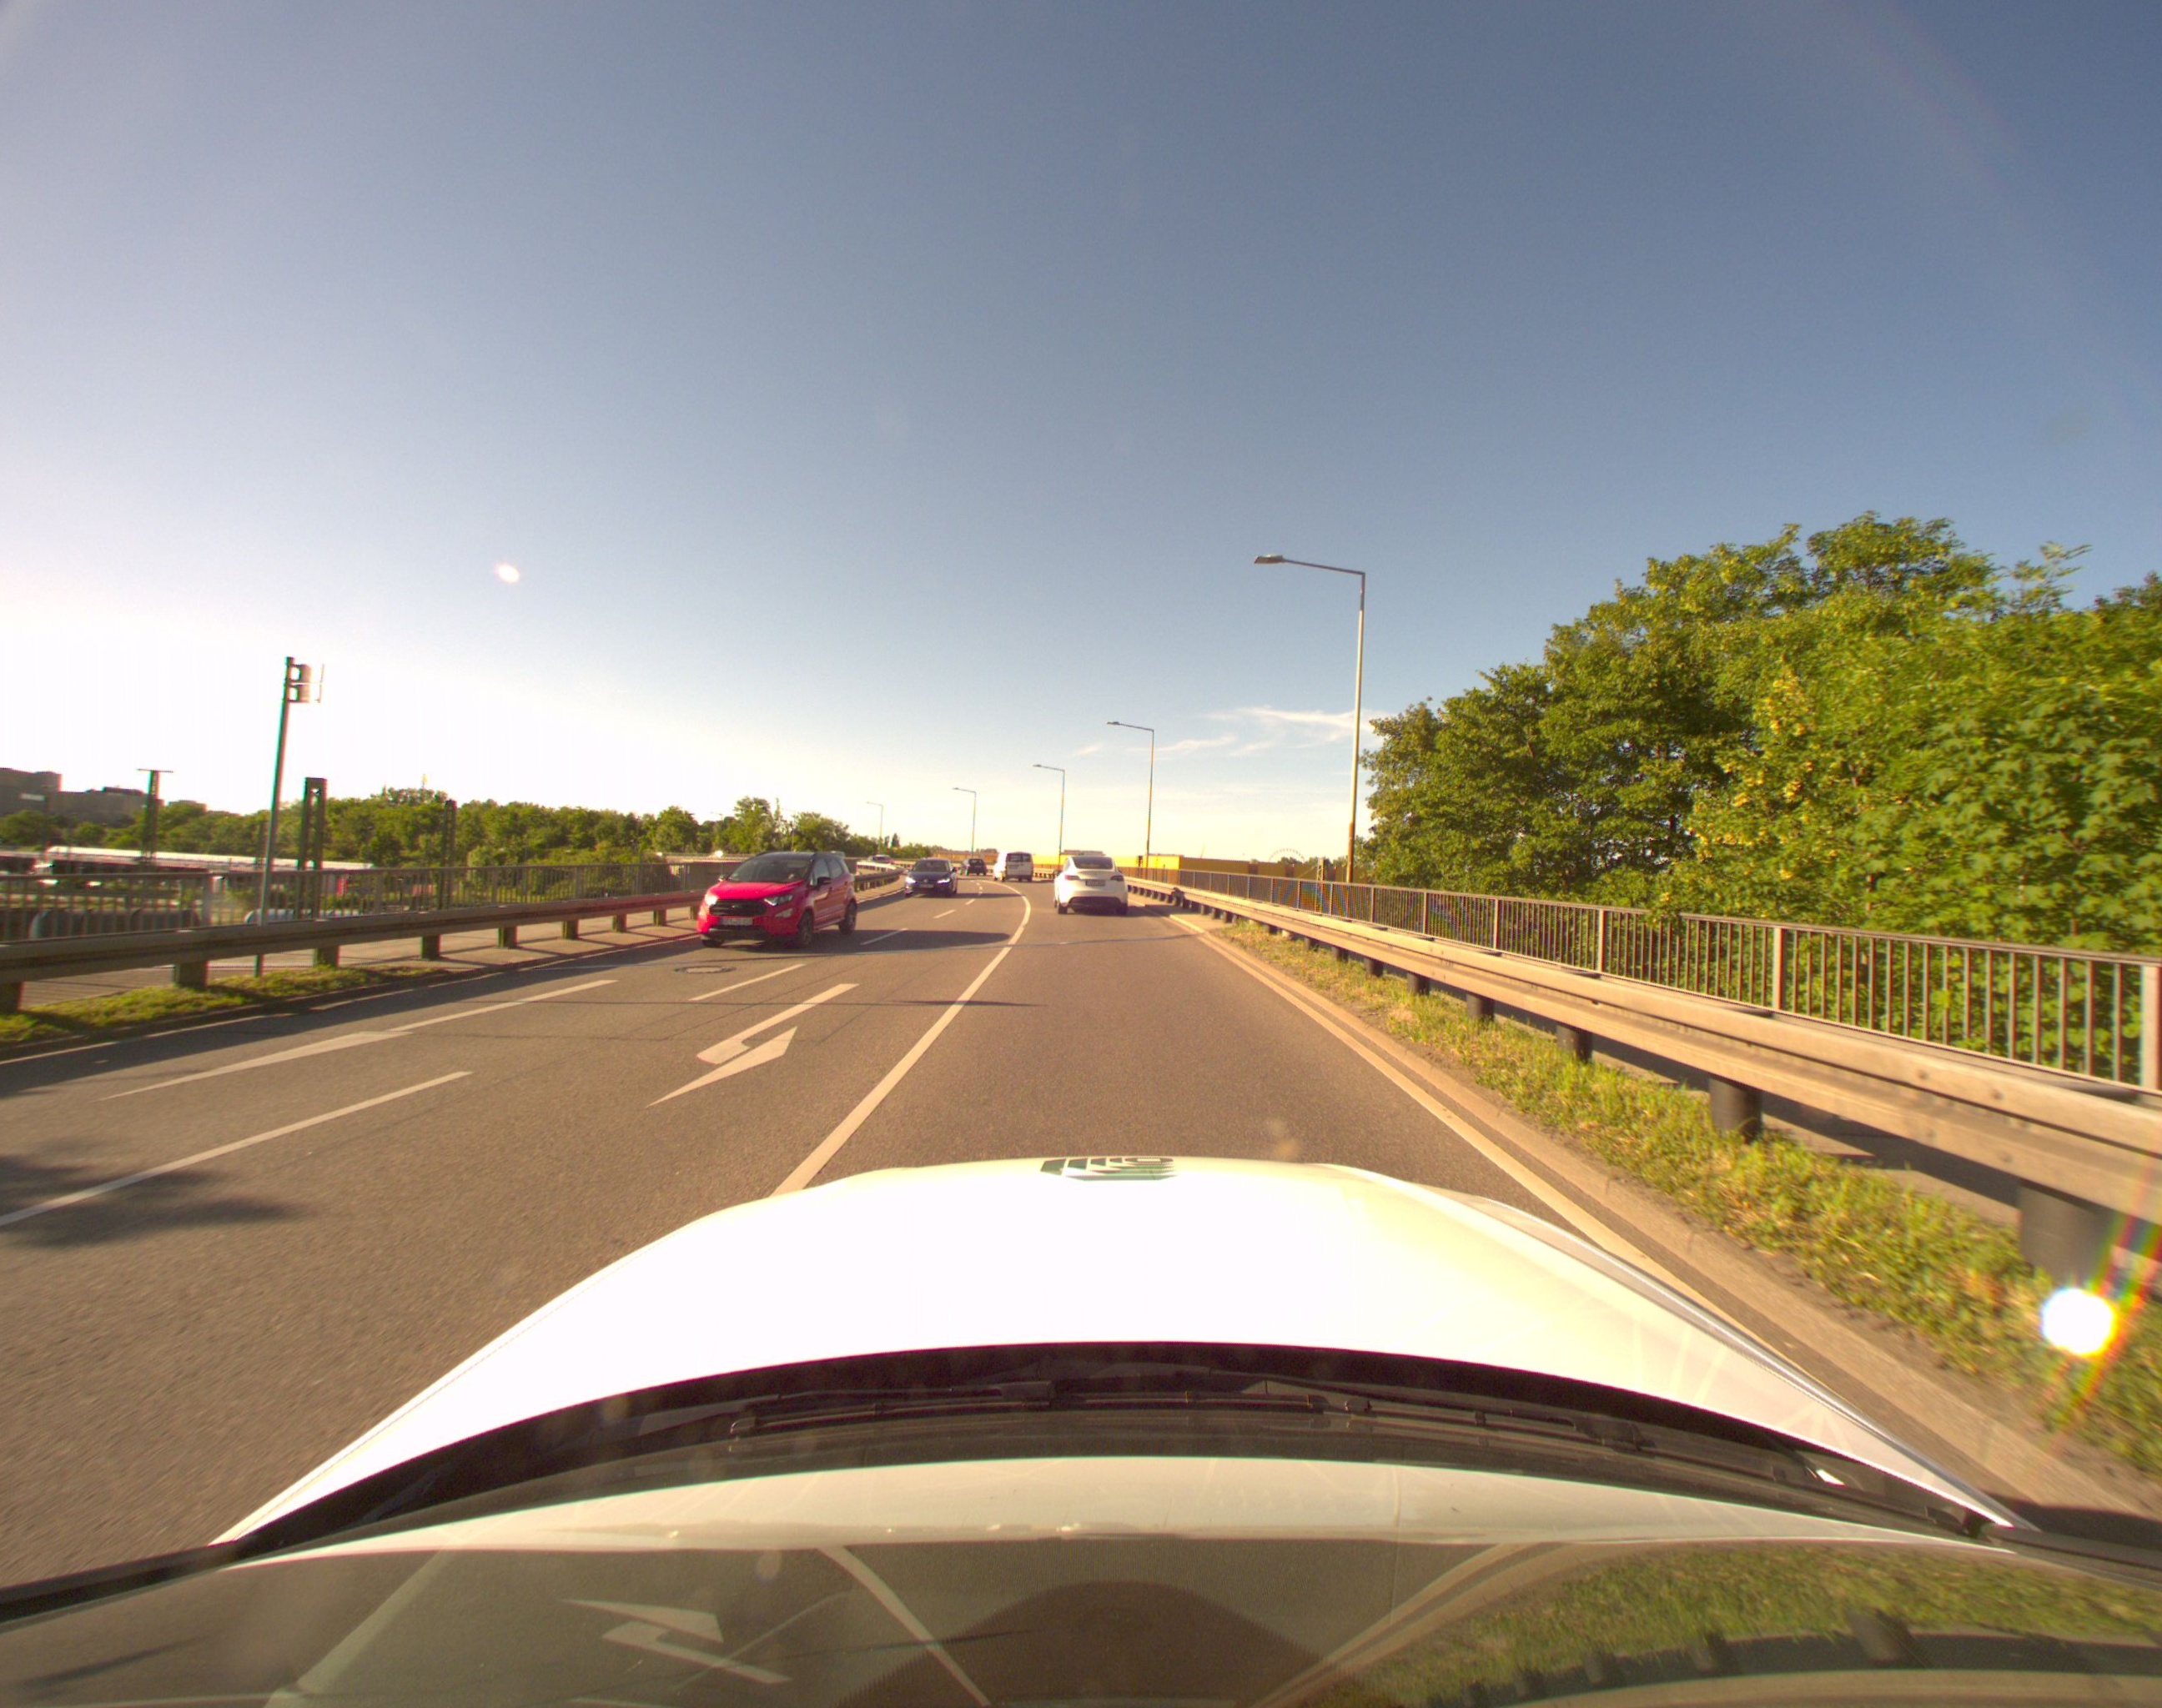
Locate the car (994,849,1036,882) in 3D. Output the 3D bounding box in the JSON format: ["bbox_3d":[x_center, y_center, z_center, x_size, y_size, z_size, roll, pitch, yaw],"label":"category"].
[{"bbox_3d":[-4.183,0.716,50.811,2.007,1.940,4.448,1,0,-12],"label":"car"}]

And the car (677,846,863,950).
[{"bbox_3d":[-5.500,0.713,14.996,1.798,1.638,4.000,0,0,1],"label":"car"}]

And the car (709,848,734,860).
[{"bbox_3d":[-60.416,-0.015,136.885,3.949,1.950,1.975,1,0,32],"label":"car"}]

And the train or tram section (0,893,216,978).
[{"bbox_3d":[-62.651,4.672,47.354,16.354,4.591,3.870,1,0,-29],"label":"train or tram section"}]

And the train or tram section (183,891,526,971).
[{"bbox_3d":[-48.180,4.958,55.363,16.812,4.591,3.870,1,0,-29],"label":"train or tram section"}]

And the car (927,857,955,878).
[{"bbox_3d":[-9.970,0.917,57.939,1.783,1.437,3.858,1,0,-12],"label":"car"}]

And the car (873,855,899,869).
[{"bbox_3d":[-23.160,0.978,96.779,1.872,1.585,3.875,1,0,-32],"label":"car"}]

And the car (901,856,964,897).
[{"bbox_3d":[-5.745,0.826,31.964,1.719,1.486,4.404,1,0,-2],"label":"car"}]

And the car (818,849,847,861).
[{"bbox_3d":[-33.719,0.139,110.560,3.843,1.555,1.853,1,0,39],"label":"car"}]

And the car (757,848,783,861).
[{"bbox_3d":[-48.759,0.135,127.603,3.949,1.950,1.975,1,0,38],"label":"car"}]

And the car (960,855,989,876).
[{"bbox_3d":[-8.708,0.926,66.313,1.971,1.638,3.982,0,0,-13],"label":"car"}]

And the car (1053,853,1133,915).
[{"bbox_3d":[0.258,0.795,23.522,1.982,1.638,4.056,0,0,-4],"label":"car"}]
